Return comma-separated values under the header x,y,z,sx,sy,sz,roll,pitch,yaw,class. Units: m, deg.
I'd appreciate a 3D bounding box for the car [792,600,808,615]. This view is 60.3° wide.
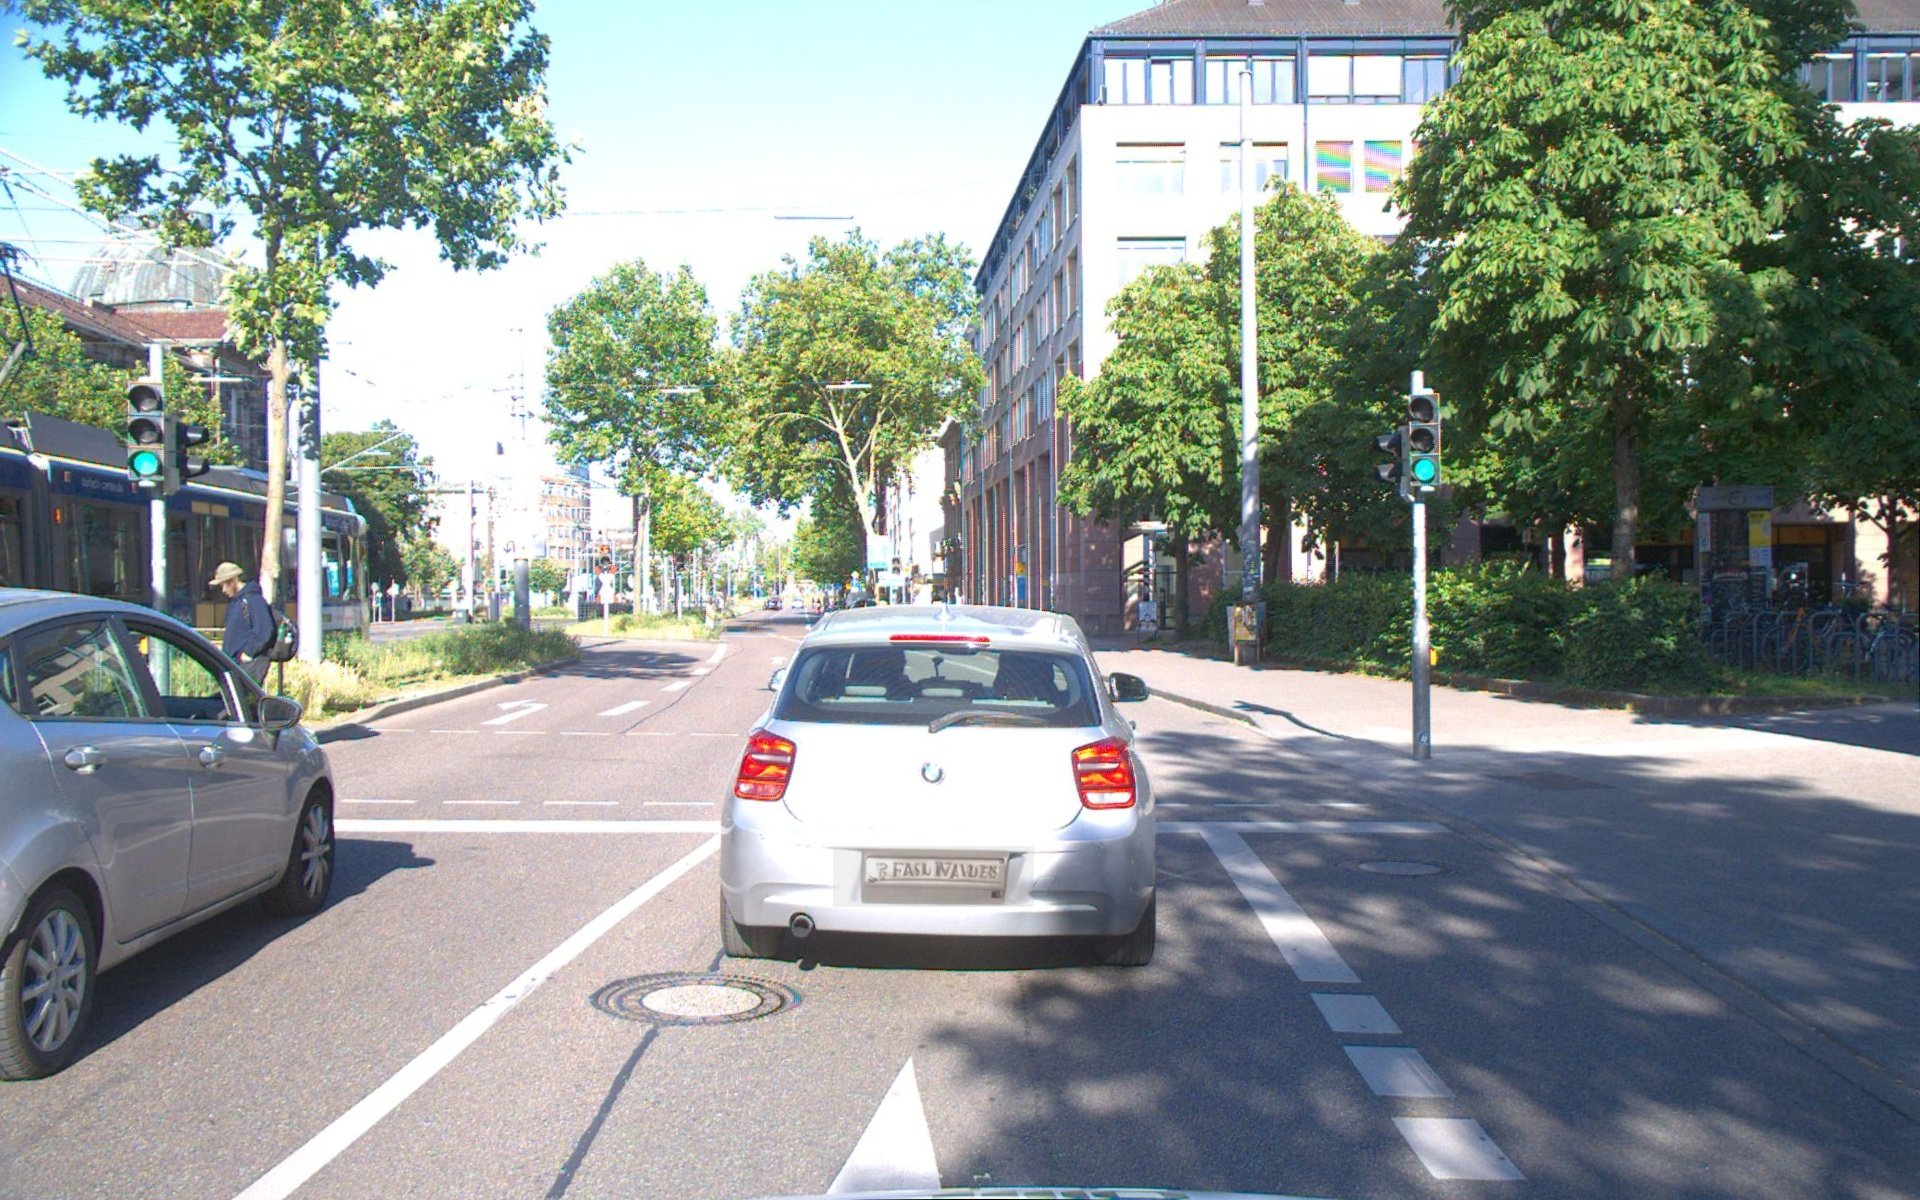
x,y,z,sx,sy,sz,roll,pitch,yaw,class
-23.832,1.151,246.898,1.953,2.049,3.999,1,-1,0,car

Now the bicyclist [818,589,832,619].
x,y,z,sx,sy,sz,roll,pitch,yaw,class
-7.593,0.238,93.057,0.644,1.686,0.765,-1,0,3,bicyclist

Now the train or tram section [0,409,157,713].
x,y,z,sx,sy,sz,roll,pitch,yaw,class
-11.573,-0.504,14.275,2.858,3.317,15.873,1,-1,-5,train or tram section

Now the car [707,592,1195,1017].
x,y,z,sx,sy,sz,roll,pitch,yaw,class
0.044,0.706,7.722,1.694,1.415,3.841,1,1,2,car

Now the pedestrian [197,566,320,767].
x,y,z,sx,sy,sz,roll,pitch,yaw,class
-5.979,0.547,14.117,0.928,1.657,0.624,0,0,-24,pedestrian

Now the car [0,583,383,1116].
x,y,z,sx,sy,sz,roll,pitch,yaw,class
-3.478,0.671,6.032,1.627,1.434,3.629,1,0,-3,car

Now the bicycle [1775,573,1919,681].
x,y,z,sx,sy,sz,roll,pitch,yaw,class
11.963,0.347,21.973,1.956,1.337,0.574,-2,0,-2,bicycle

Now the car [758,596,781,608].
x,y,z,sx,sy,sz,roll,pitch,yaw,class
-24.617,0.307,213.705,1.967,1.512,3.971,-1,0,-23,car

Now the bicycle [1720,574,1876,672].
x,y,z,sx,sy,sz,roll,pitch,yaw,class
12.166,0.324,24.031,1.956,1.337,0.574,-2,0,-2,bicycle

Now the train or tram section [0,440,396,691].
x,y,z,sx,sy,sz,roll,pitch,yaw,class
-12.917,-0.365,28.680,2.858,3.317,13.097,1,-1,-5,train or tram section

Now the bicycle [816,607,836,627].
x,y,z,sx,sy,sz,roll,pitch,yaw,class
-7.559,0.955,93.115,0.814,1.059,1.875,-1,0,4,bicycle

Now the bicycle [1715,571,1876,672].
x,y,z,sx,sy,sz,roll,pitch,yaw,class
11.811,0.304,23.401,1.956,1.337,0.574,-2,0,-2,bicycle
